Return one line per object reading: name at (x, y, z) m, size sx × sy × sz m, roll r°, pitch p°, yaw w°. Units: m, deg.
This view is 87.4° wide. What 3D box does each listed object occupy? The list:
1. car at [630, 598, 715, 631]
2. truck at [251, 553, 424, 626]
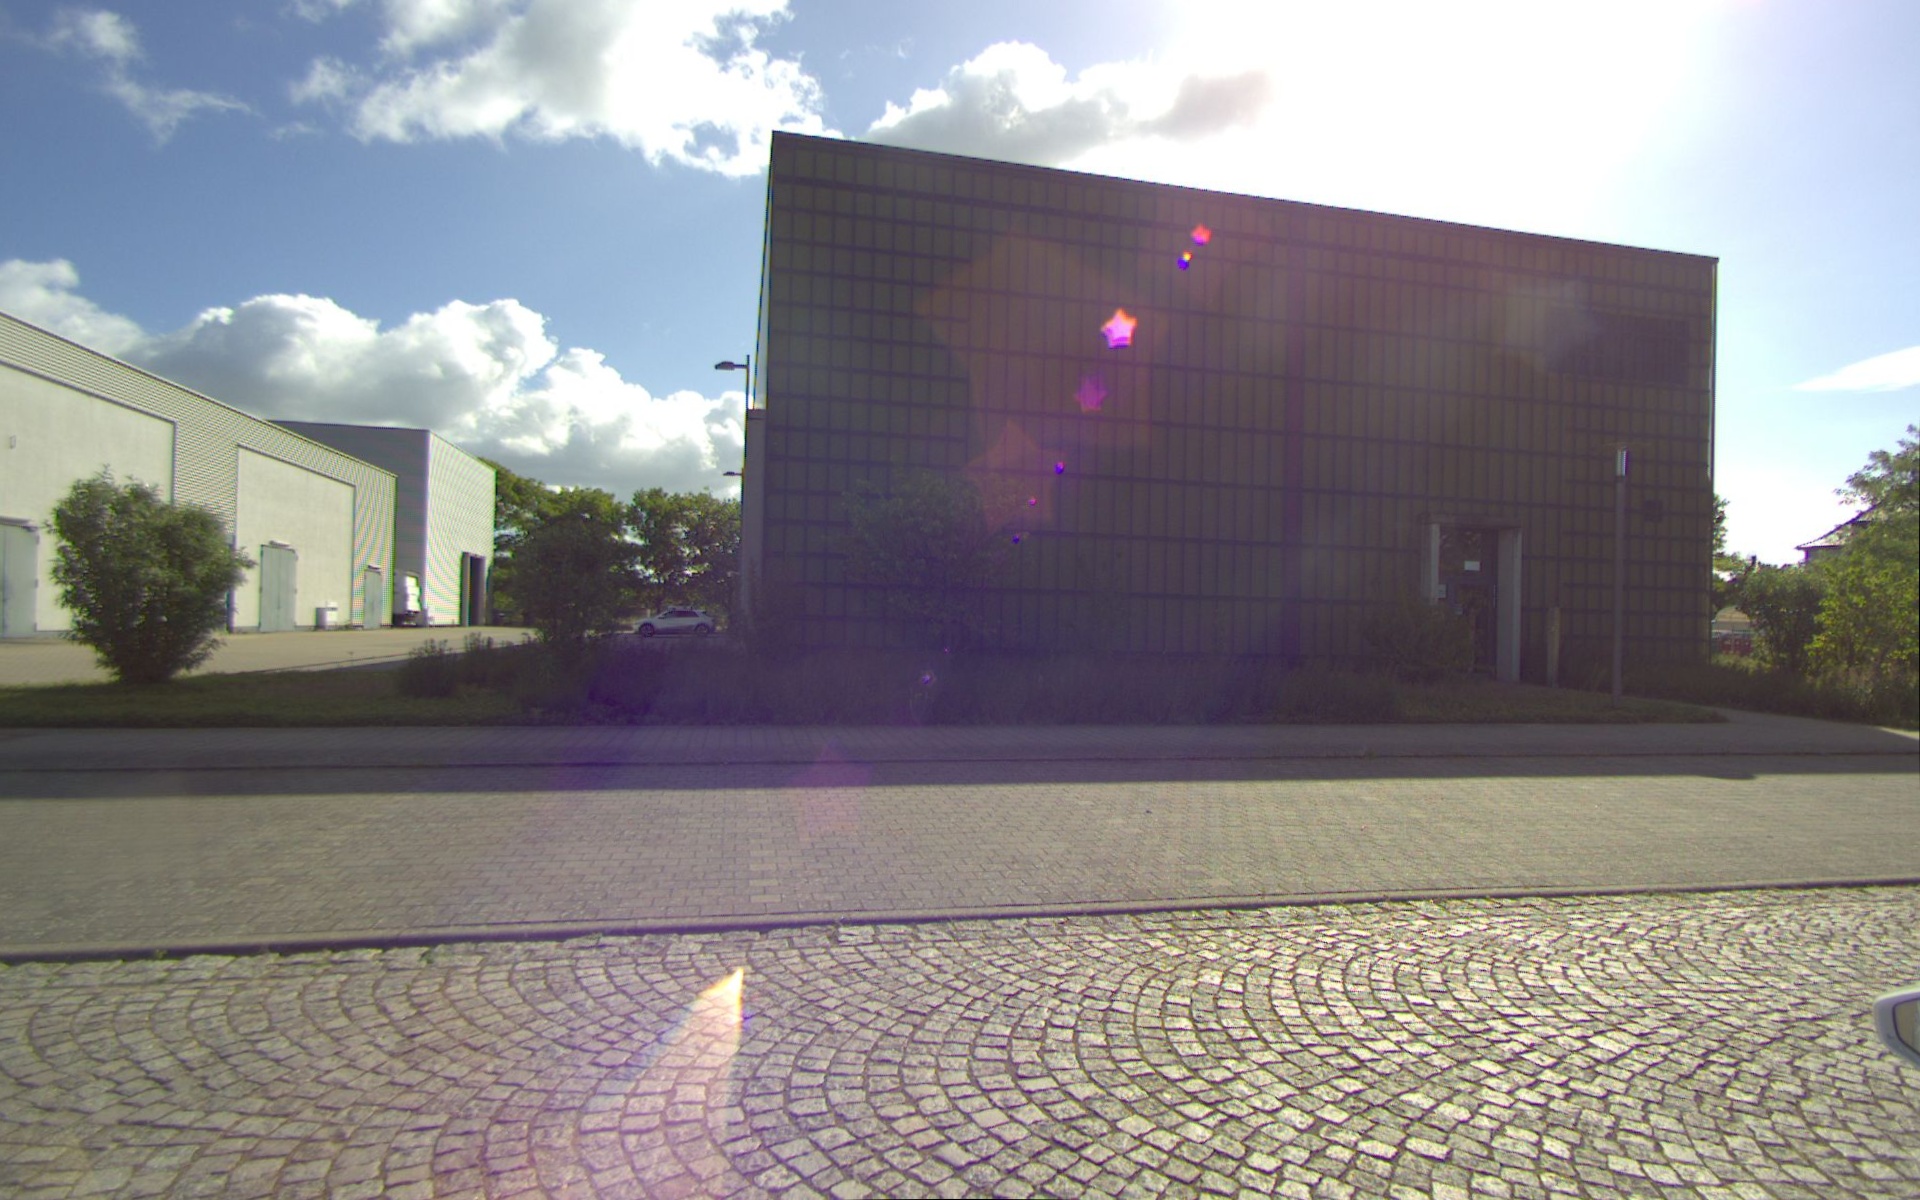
car at (-16.160, 0.826, 56.648) m, size 4.502 × 1.685 × 1.995 m, roll 2°, pitch -1°, yaw -14°
truck at (-35.860, -0.560, 58.173) m, size 7.963 × 3.868 × 2.644 m, roll 2°, pitch -1°, yaw -13°
